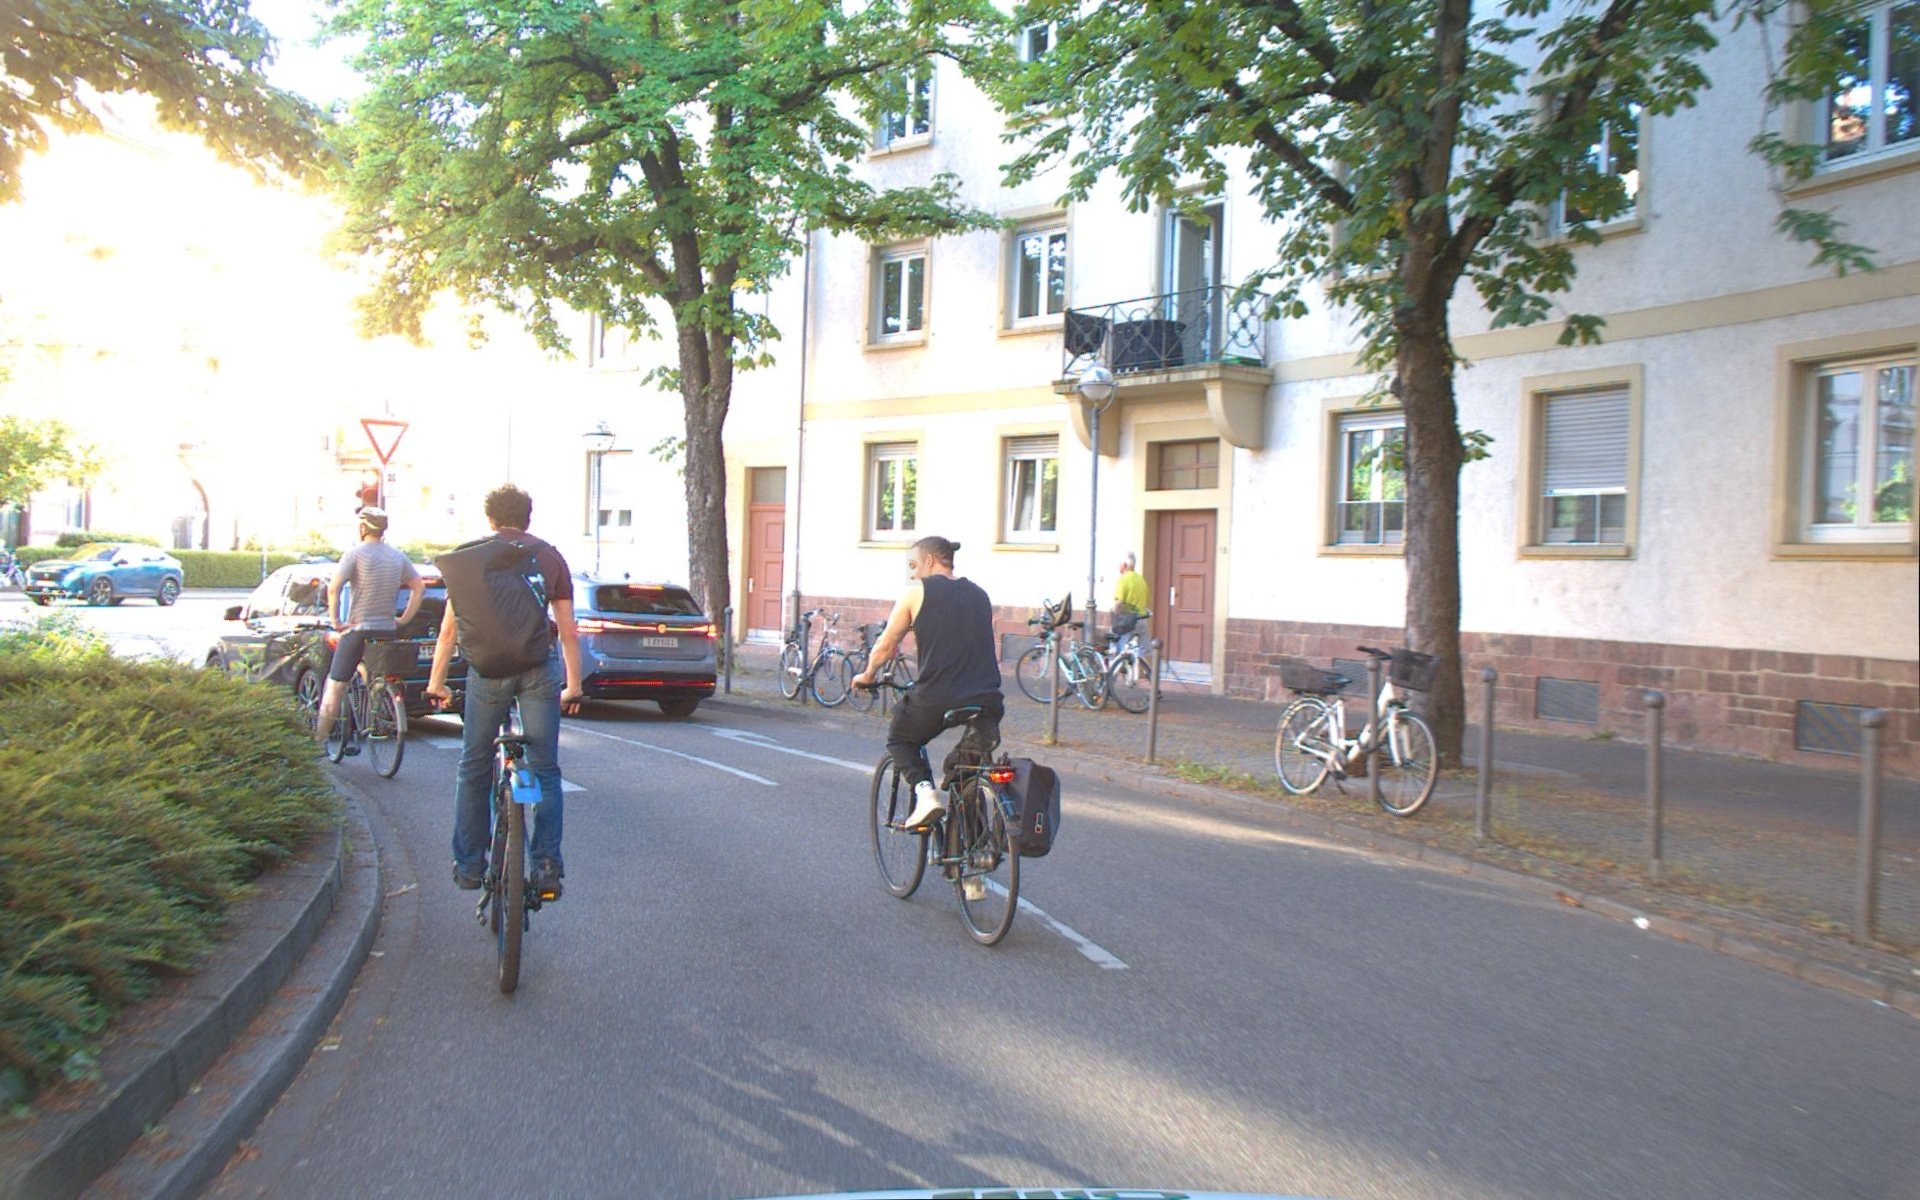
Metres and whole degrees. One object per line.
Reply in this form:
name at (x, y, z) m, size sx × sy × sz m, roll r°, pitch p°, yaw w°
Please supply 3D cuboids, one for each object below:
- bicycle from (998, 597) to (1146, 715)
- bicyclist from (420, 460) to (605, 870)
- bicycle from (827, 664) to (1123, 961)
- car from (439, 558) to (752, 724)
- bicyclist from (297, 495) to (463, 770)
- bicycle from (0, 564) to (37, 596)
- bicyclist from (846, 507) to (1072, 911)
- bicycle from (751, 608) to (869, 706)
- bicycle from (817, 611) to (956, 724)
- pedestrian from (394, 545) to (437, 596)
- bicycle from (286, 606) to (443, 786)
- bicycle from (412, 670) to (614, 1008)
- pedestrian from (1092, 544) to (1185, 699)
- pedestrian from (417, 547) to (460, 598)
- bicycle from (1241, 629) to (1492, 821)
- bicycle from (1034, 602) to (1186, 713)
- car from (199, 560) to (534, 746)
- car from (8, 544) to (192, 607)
bicycle at (1.227, 0.592, 18.609) m, size 0.490 × 1.192 × 2.093 m, roll -3°, pitch 3°, yaw -33°
bicyclist at (-1.844, 0.242, 6.823) m, size 0.660 × 1.541 × 1.064 m, roll 1°, pitch 0°, yaw -16°
bicycle at (-0.008, 0.878, 7.593) m, size 0.726 × 1.029 × 2.051 m, roll 1°, pitch 1°, yaw -18°
car at (-4.190, 0.389, 18.608) m, size 1.879 × 1.605 × 3.945 m, roll 2°, pitch 1°, yaw -39°
bicyclist at (-4.332, 0.219, 12.326) m, size 0.844 × 1.931 × 1.125 m, roll 1°, pitch 1°, yaw -37°
bicycle at (-27.388, -0.577, 47.588) m, size 0.440 × 0.876 × 1.445 m, roll 2°, pitch 0°, yaw 26°
bicyclist at (-0.026, 0.460, 7.559) m, size 0.741 × 1.711 × 0.908 m, roll 2°, pitch 1°, yaw -19°
bicycle at (-1.775, 0.633, 19.257) m, size 0.514 × 1.016 × 2.170 m, roll 1°, pitch 1°, yaw -29°
bicycle at (-0.825, 0.702, 17.995) m, size 0.611 × 1.076 × 1.905 m, roll -1°, pitch 2°, yaw -34°
pedestrian at (-22.210, -1.192, 67.455) m, size 1.133 × 1.996 × 1.388 m, roll 2°, pitch 0°, yaw 7°
bicycle at (-4.518, 0.676, 12.451) m, size 0.592 × 1.182 × 2.017 m, roll 2°, pitch 1°, yaw -35°
bicycle at (-1.828, 0.864, 6.741) m, size 0.663 × 1.072 × 2.052 m, roll 1°, pitch 0°, yaw -16°
pedestrian at (2.164, 0.240, 20.025) m, size 0.648 × 1.826 × 0.991 m, roll 2°, pitch 2°, yaw 42°
pedestrian at (-21.000, -1.116, 66.656) m, size 1.133 × 1.996 × 1.388 m, roll 2°, pitch 0°, yaw 7°
bicycle at (2.815, 0.824, 11.694) m, size 0.608 × 1.132 × 1.976 m, roll -2°, pitch 2°, yaw -26°
bicycle at (1.686, 0.627, 18.984) m, size 0.576 × 1.133 × 2.094 m, roll 1°, pitch 1°, yaw -32°
car at (-5.845, 0.400, 16.048) m, size 1.802 × 1.570 × 3.900 m, roll -1°, pitch 2°, yaw -41°
car at (-22.745, -0.624, 43.946) m, size 1.951 × 1.522 × 4.378 m, roll 2°, pitch 1°, yaw 12°
